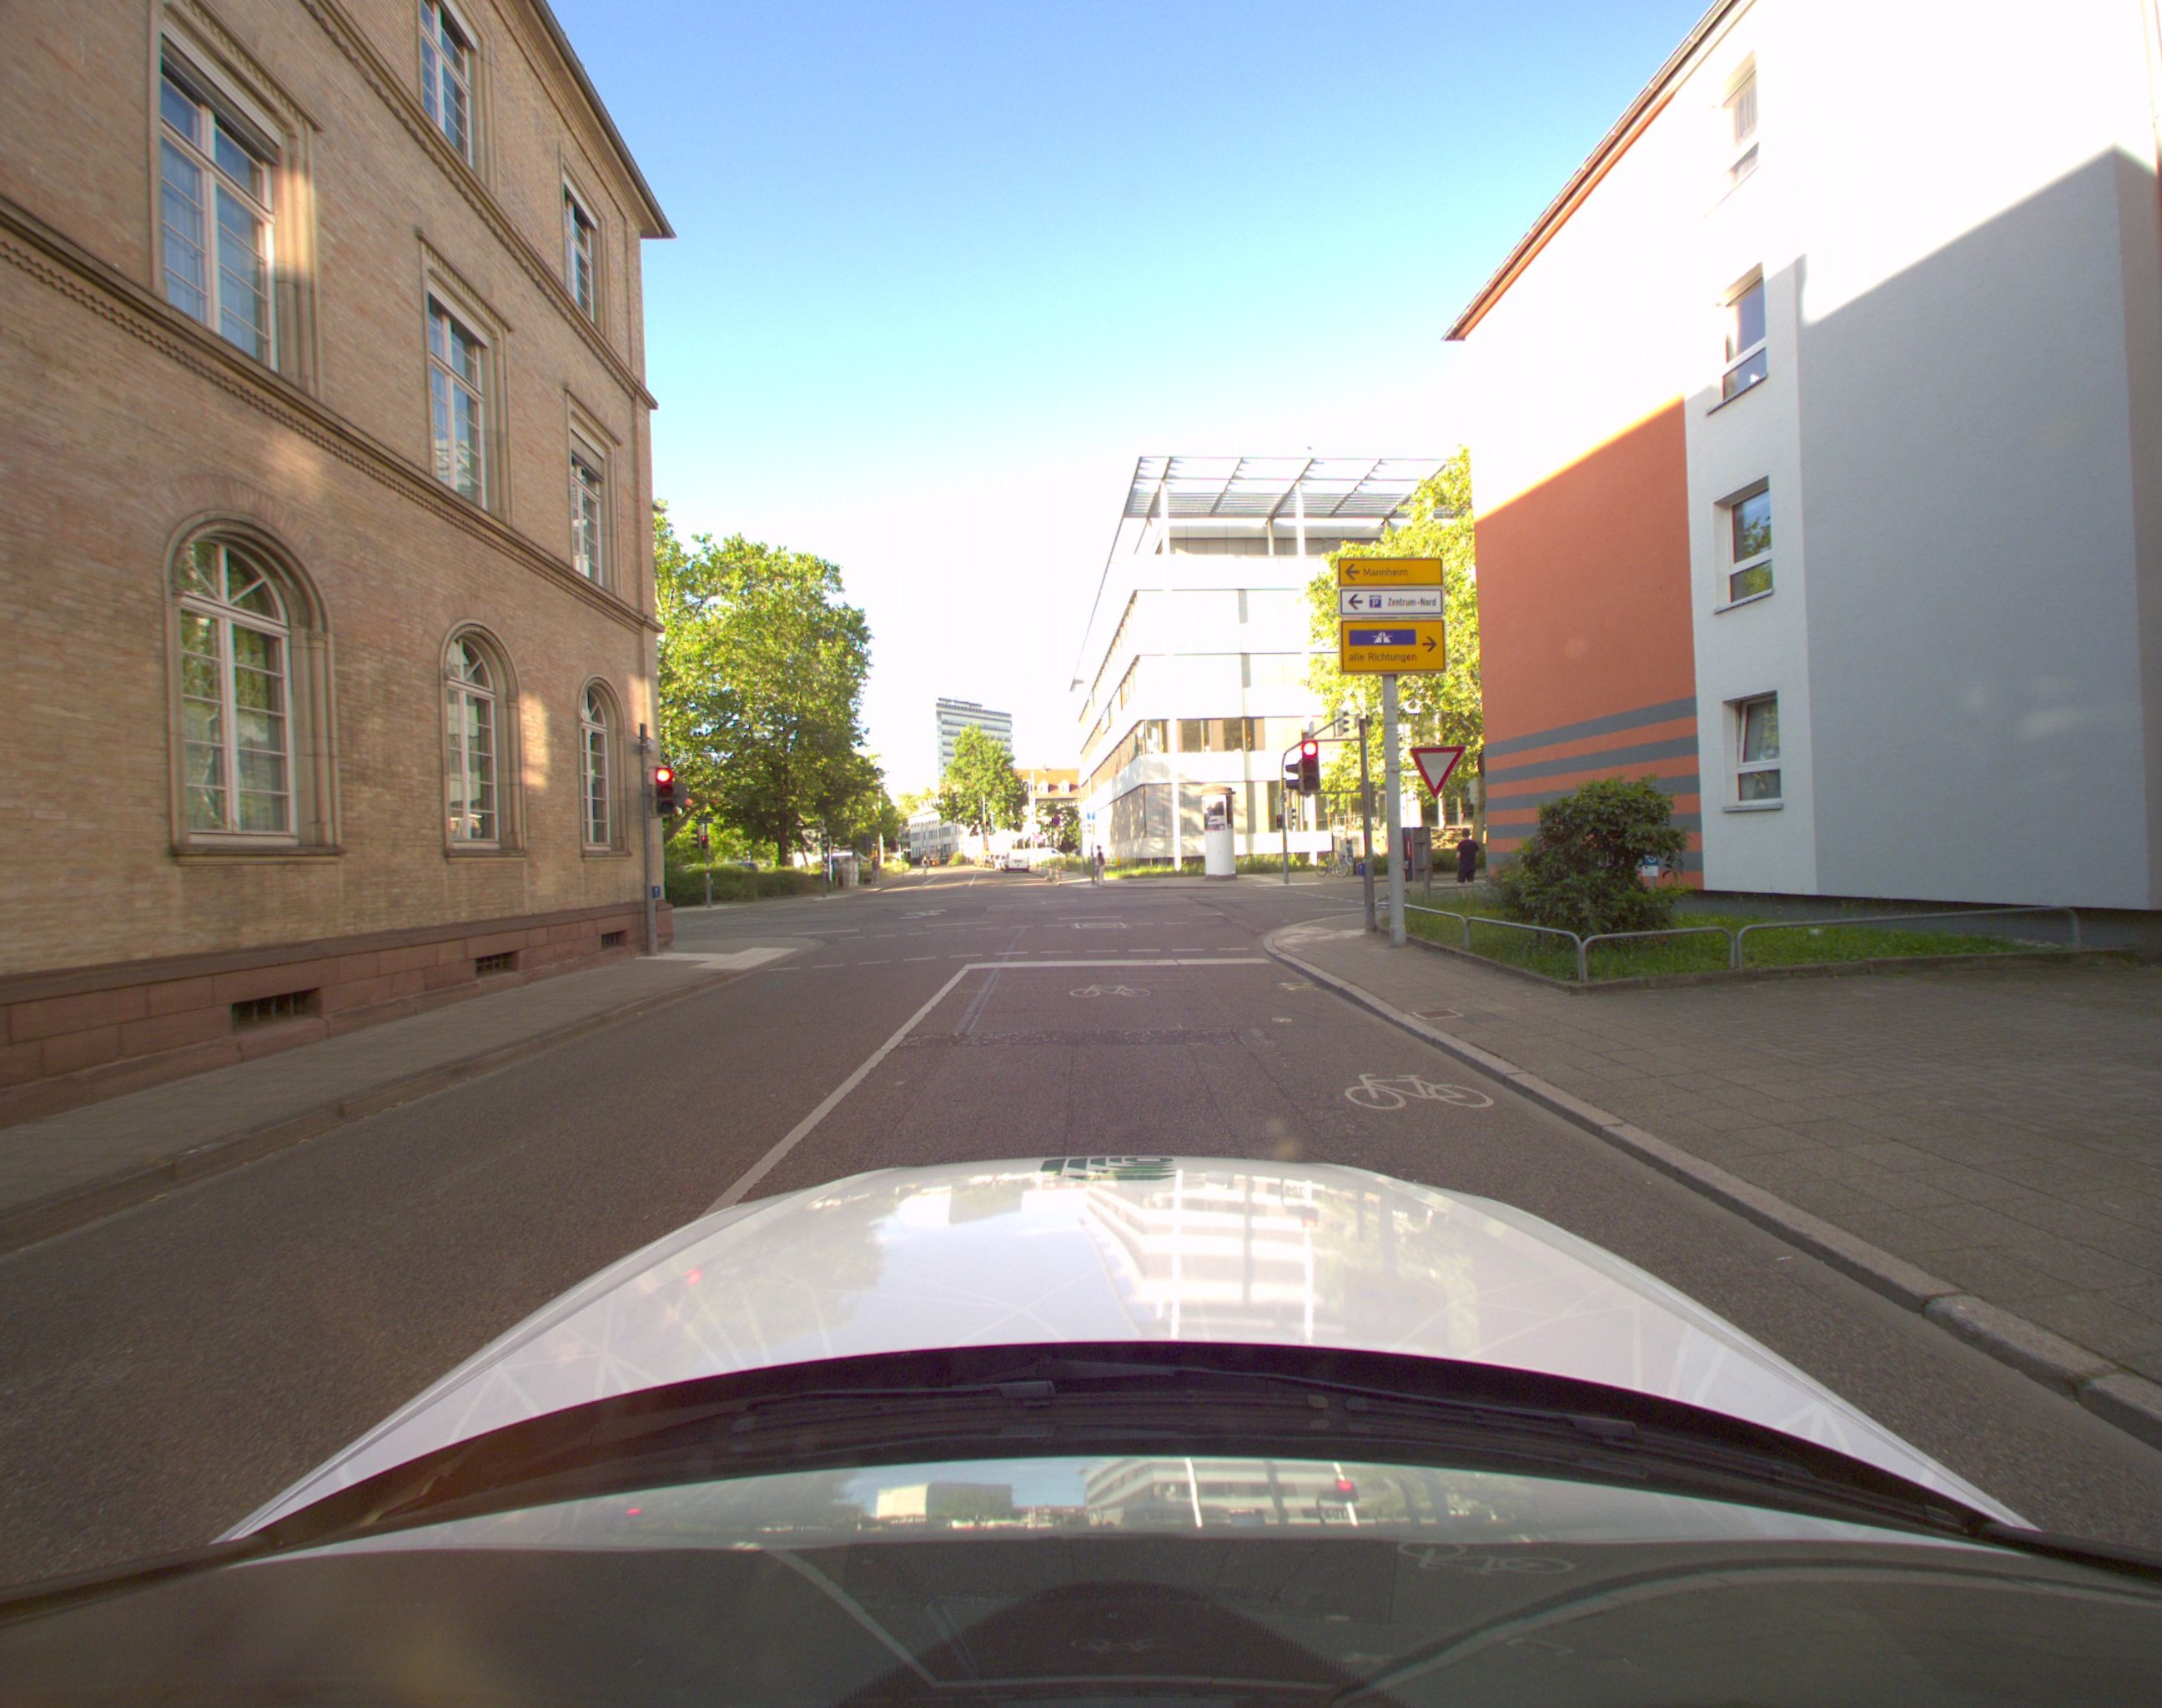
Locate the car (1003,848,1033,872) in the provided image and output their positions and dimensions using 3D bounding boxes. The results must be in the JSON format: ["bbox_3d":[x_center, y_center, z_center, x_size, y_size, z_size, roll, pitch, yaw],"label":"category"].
[{"bbox_3d":[-5.091,0.452,64.954,2.084,1.795,4.403,-2,1,-8],"label":"car"}]

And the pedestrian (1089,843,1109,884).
[{"bbox_3d":[0.837,0.448,37.922,0.555,1.850,0.680,-5,1,18],"label":"pedestrian"}]

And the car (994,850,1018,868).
[{"bbox_3d":[-7.265,0.481,78.658,1.889,1.555,4.398,-2,1,-11],"label":"car"}]

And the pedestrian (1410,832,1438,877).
[{"bbox_3d":[14.362,0.014,34.145,0.834,1.840,0.707,-1,0,-8],"label":"pedestrian"}]

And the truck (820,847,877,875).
[{"bbox_3d":[-21.607,0.597,75.817,4.825,2.399,2.082,-2,0,-8],"label":"truck"}]

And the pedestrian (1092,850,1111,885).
[{"bbox_3d":[0.929,0.606,37.313,0.561,1.540,0.673,-5,1,-16],"label":"pedestrian"}]

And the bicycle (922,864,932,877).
[{"bbox_3d":[-12.405,1.293,65.607,0.615,0.969,1.837,-3,0,-7],"label":"bicycle"}]

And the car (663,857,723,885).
[{"bbox_3d":[-37.165,1.636,78.106,4.551,2.391,2.069,-3,0,-7],"label":"car"}]

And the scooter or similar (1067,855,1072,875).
[{"bbox_3d":[-0.823,0.759,58.737,0.329,1.424,1.333,0,-1,-4],"label":"scooter or similar"}]

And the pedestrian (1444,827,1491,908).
[{"bbox_3d":[8.937,0.303,18.877,0.704,1.840,0.837,0,0,1],"label":"pedestrian"}]

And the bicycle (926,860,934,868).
[{"bbox_3d":[-19.471,1.324,105.286,0.865,1.009,2.407,-5,0,-8],"label":"bicycle"}]

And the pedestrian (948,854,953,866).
[{"bbox_3d":[-17.282,0.780,107.898,0.435,1.607,0.489,-2,0,-24],"label":"pedestrian"}]

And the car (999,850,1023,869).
[{"bbox_3d":[-6.331,0.506,73.260,1.887,1.555,4.403,-2,1,-8],"label":"car"}]

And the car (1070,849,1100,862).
[{"bbox_3d":[0.508,0.173,104.421,3.563,1.546,1.549,-2,0,-17],"label":"car"}]

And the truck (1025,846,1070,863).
[{"bbox_3d":[-4.244,0.072,103.350,5.351,2.013,1.988,-2,0,-17],"label":"truck"}]

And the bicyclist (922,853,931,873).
[{"bbox_3d":[-12.430,0.719,65.620,0.615,1.532,0.901,-3,0,-7],"label":"bicyclist"}]

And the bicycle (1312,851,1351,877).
[{"bbox_3d":[11.034,0.417,35.903,0.510,1.049,1.670,-4,3,-33],"label":"bicycle"}]

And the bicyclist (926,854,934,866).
[{"bbox_3d":[-19.511,0.747,105.303,0.865,1.515,1.016,-5,0,-9],"label":"bicyclist"}]

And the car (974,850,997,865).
[{"bbox_3d":[-11.274,0.431,95.953,1.893,1.655,4.390,-2,1,-16],"label":"car"}]

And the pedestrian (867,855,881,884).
[{"bbox_3d":[-12.658,0.949,49.819,0.703,1.723,0.952,-3,0,-10],"label":"pedestrian"}]

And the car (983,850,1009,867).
[{"bbox_3d":[-9.024,0.438,85.955,1.893,1.655,4.390,-2,1,-16],"label":"car"}]
